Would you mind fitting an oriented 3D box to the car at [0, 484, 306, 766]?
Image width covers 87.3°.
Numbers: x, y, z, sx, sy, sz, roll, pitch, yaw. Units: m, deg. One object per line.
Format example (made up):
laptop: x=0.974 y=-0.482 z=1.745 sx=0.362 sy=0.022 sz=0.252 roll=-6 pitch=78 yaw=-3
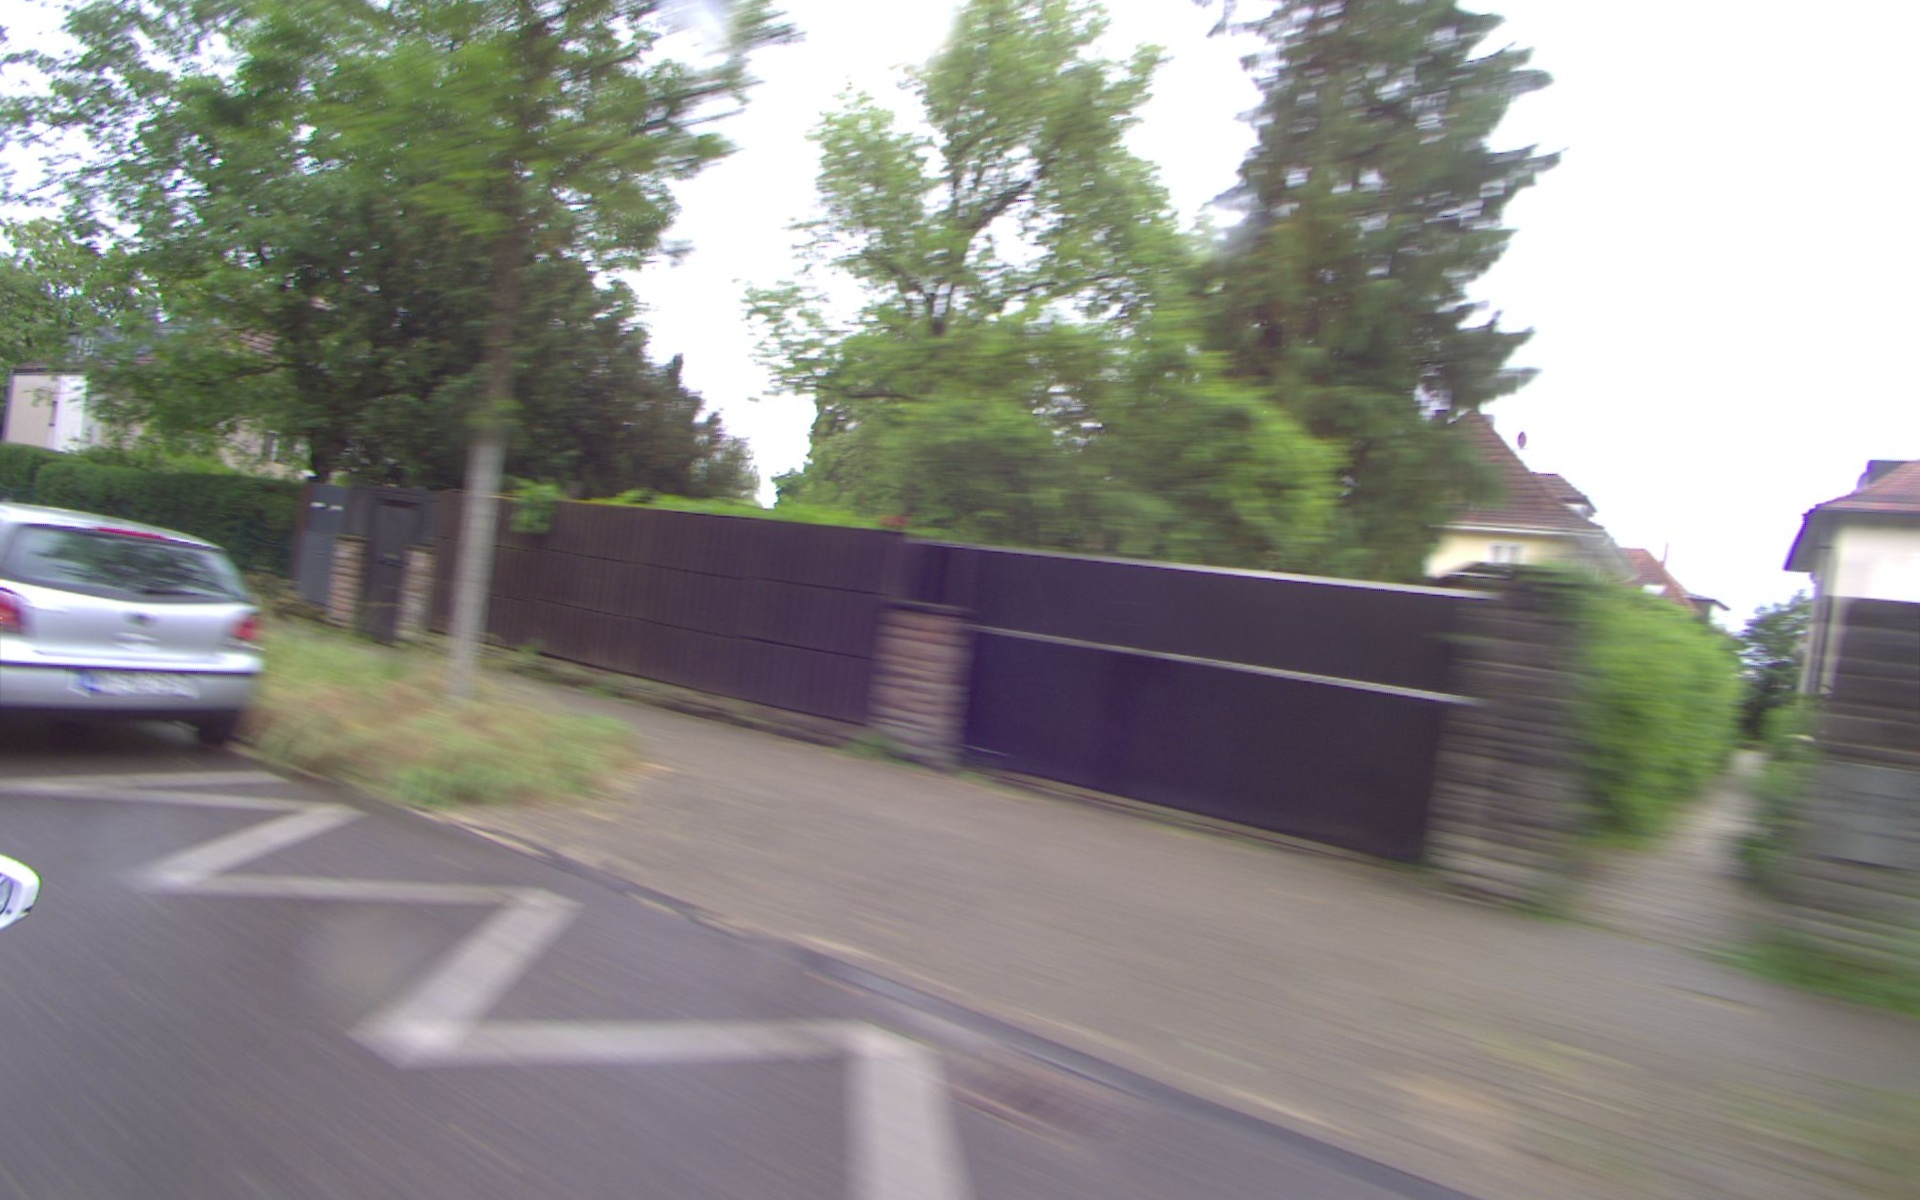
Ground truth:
car: x=-6.489 y=-0.003 z=6.991 sx=3.770 sy=1.525 sz=1.622 roll=8 pitch=-1 yaw=31
